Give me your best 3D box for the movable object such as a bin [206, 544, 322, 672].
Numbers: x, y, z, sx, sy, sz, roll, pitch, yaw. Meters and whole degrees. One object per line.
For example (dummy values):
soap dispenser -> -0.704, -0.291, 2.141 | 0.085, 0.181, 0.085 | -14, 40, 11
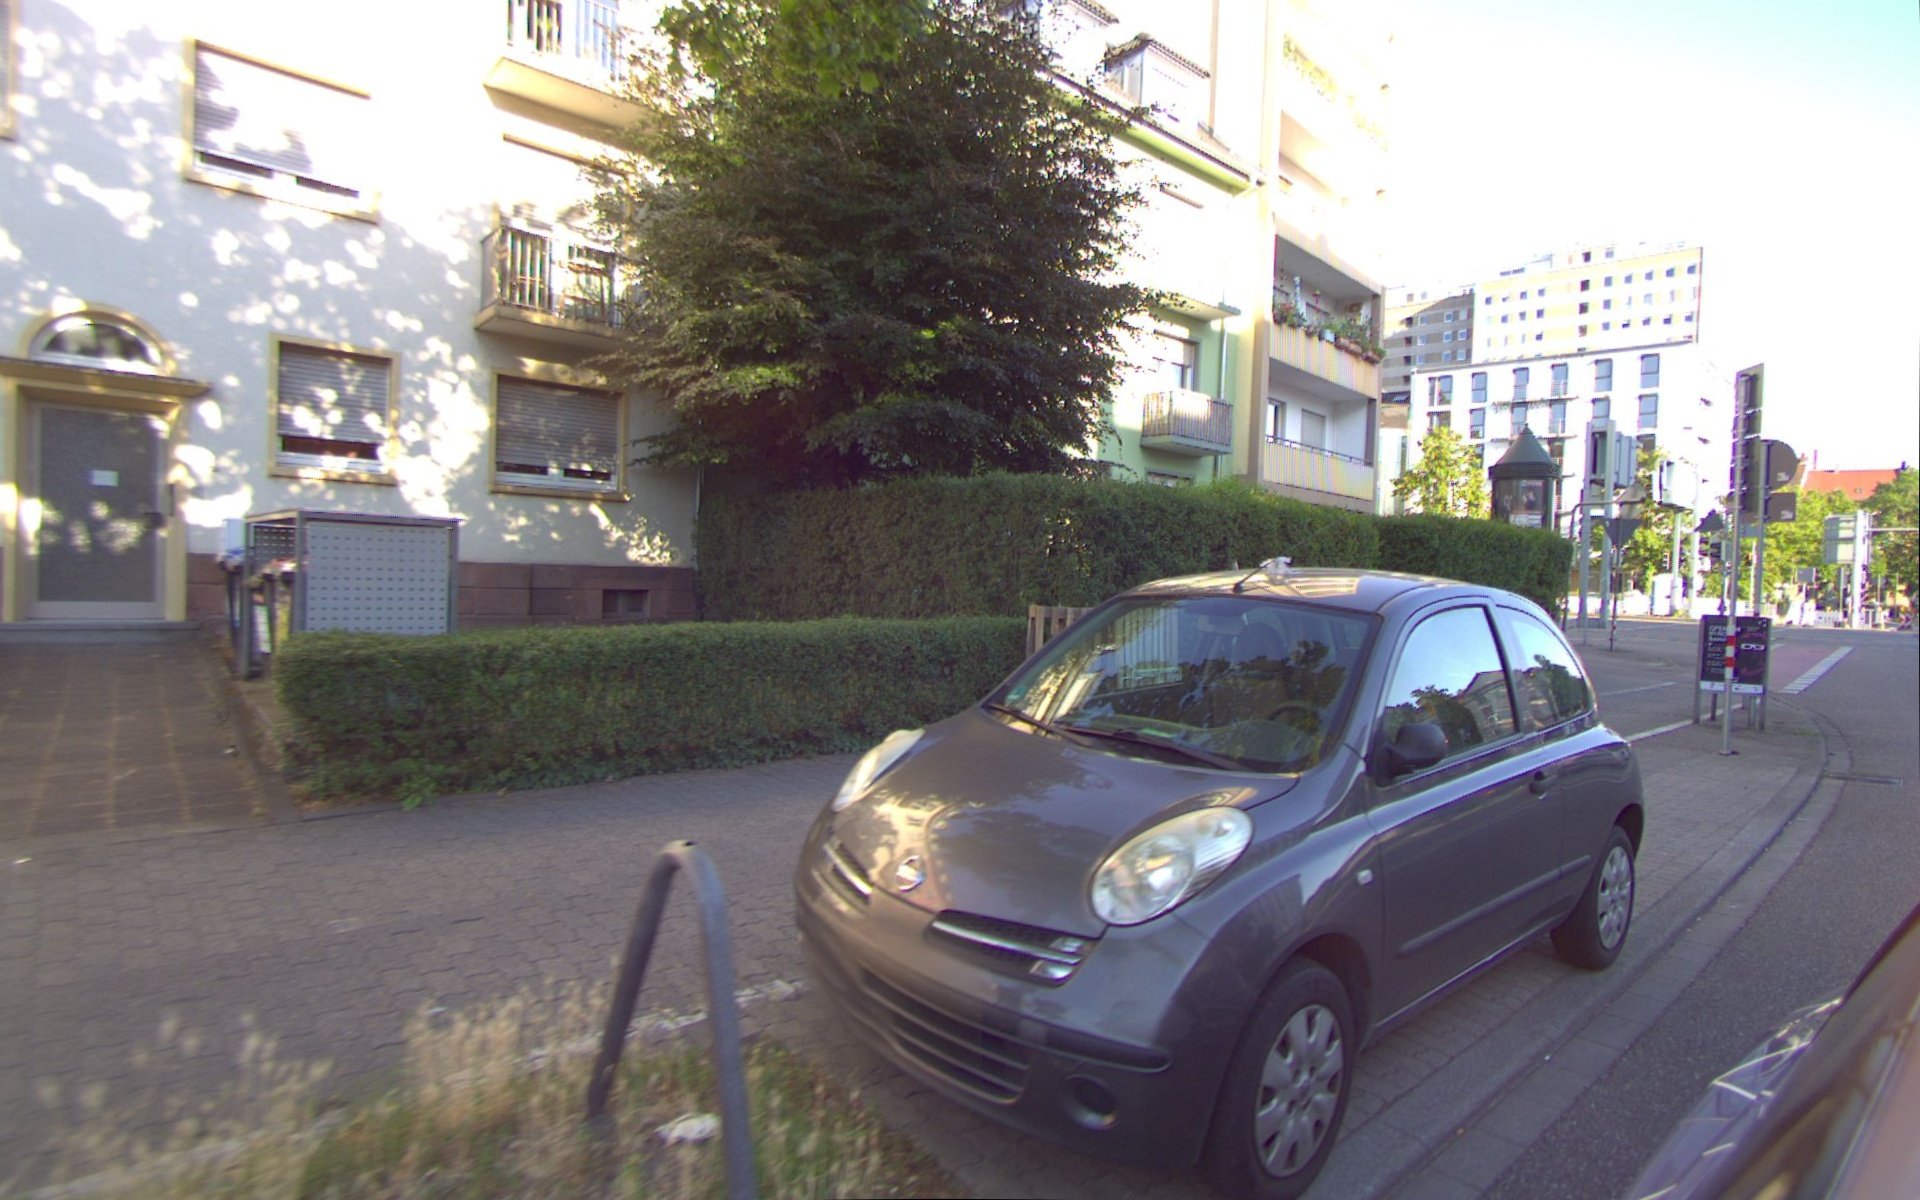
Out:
movable object such as a bin -> -6.491, 0.065, 9.442 | 0.814, 1.137, 0.554 | 1, 2, -41

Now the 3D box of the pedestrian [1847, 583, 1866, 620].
pedestrian -> 47.287, 0.083, 53.373 | 0.493, 1.900, 0.598 | 2, 1, 20

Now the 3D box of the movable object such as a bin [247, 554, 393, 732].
movable object such as a bin -> -4.691, 0.291, 7.422 | 0.814, 1.217, 0.554 | 1, 2, -41

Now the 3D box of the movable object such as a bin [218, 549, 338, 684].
movable object such as a bin -> -6.087, 0.130, 9.040 | 0.814, 1.137, 0.554 | 1, 2, -41

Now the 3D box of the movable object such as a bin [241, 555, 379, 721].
movable object such as a bin -> -5.064, 0.270, 7.888 | 0.814, 1.209, 0.554 | 1, 2, -41

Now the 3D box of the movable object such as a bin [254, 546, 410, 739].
movable object such as a bin -> -4.309, 0.266, 6.952 | 0.814, 1.236, 0.554 | 1, 2, -41

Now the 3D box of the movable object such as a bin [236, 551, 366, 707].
movable object such as a bin -> -5.454, 0.221, 8.377 | 0.814, 1.209, 0.554 | 1, 2, -41

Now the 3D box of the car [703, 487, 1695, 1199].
car -> 1.125, 0.553, 3.691 | 3.582, 1.570, 1.736 | 1, 2, -41

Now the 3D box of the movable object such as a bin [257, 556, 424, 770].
movable object such as a bin -> -3.947, 0.367, 6.456 | 0.814, 1.255, 0.554 | 1, 2, -41
